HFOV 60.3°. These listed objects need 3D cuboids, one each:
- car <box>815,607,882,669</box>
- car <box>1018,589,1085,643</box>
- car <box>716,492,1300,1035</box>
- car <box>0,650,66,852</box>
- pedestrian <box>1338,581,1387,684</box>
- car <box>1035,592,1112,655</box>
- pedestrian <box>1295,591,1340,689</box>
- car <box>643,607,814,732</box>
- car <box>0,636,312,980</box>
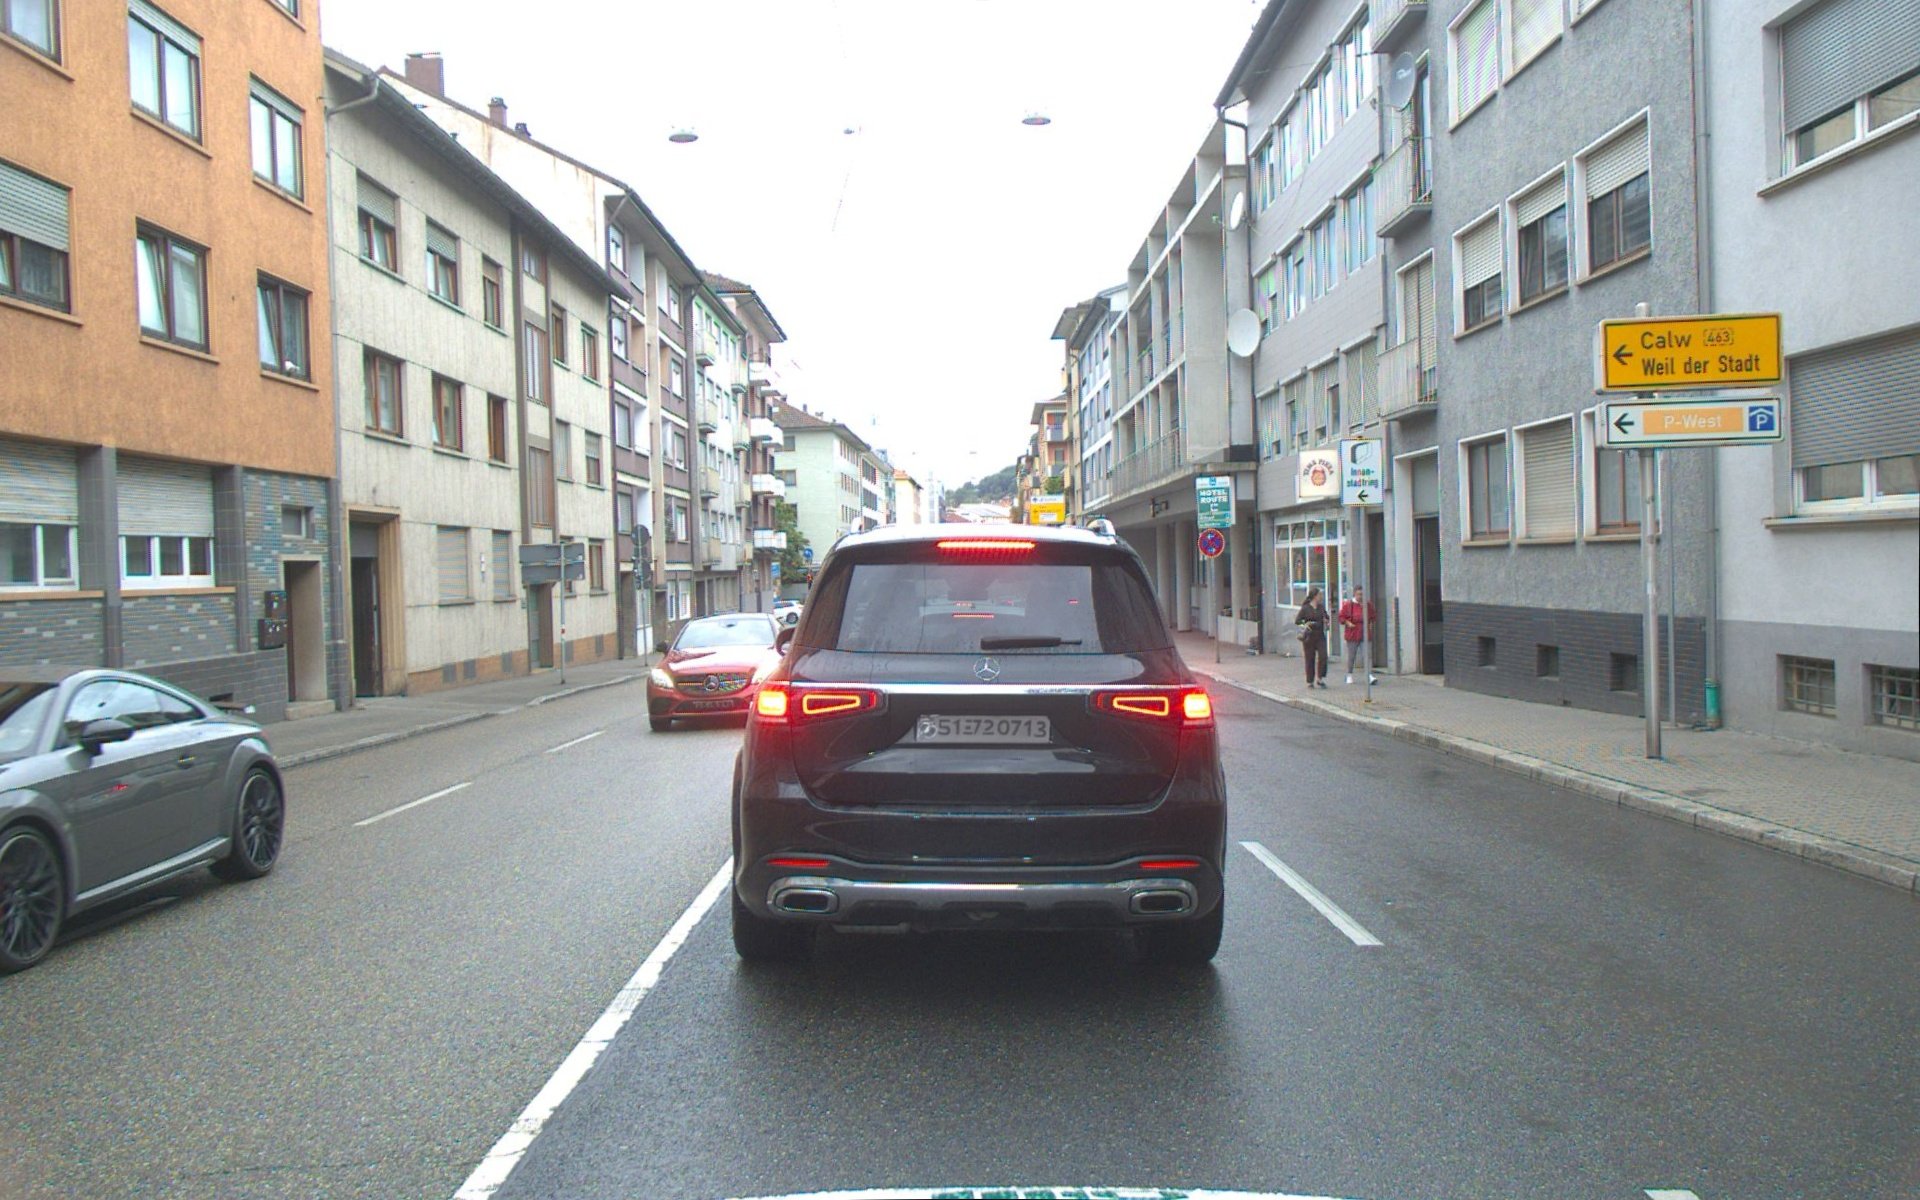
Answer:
[{"bbox_3d":[-3.261,1.078,49.100,1.698,1.602,4.010,-5,0,-1],"label":"car"},{"bbox_3d":[3.158,0.533,57.813,1.901,1.806,4.744,0,0,-2],"label":"car"},{"bbox_3d":[0.126,0.563,7.697,1.984,1.837,3.999,1,0,-1],"label":"car"},{"bbox_3d":[-7.967,1.125,10.888,1.759,1.463,4.525,1,0,-1],"label":"car"},{"bbox_3d":[6.468,0.520,26.621,0.549,1.606,0.526,-4,0,-2],"label":"pedestrian"},{"bbox_3d":[2.997,0.597,44.356,1.731,1.608,3.999,0,0,-1],"label":"car"},{"bbox_3d":[5.743,0.630,26.593,0.496,1.526,0.562,-4,0,-2],"label":"pedestrian"},{"bbox_3d":[-3.015,0.859,22.359,1.690,1.414,4.338,-3,0,-1],"label":"car"},{"bbox_3d":[-4.980,0.994,8.450,1.732,1.369,3.888,-5,0,0],"label":"car"}]
